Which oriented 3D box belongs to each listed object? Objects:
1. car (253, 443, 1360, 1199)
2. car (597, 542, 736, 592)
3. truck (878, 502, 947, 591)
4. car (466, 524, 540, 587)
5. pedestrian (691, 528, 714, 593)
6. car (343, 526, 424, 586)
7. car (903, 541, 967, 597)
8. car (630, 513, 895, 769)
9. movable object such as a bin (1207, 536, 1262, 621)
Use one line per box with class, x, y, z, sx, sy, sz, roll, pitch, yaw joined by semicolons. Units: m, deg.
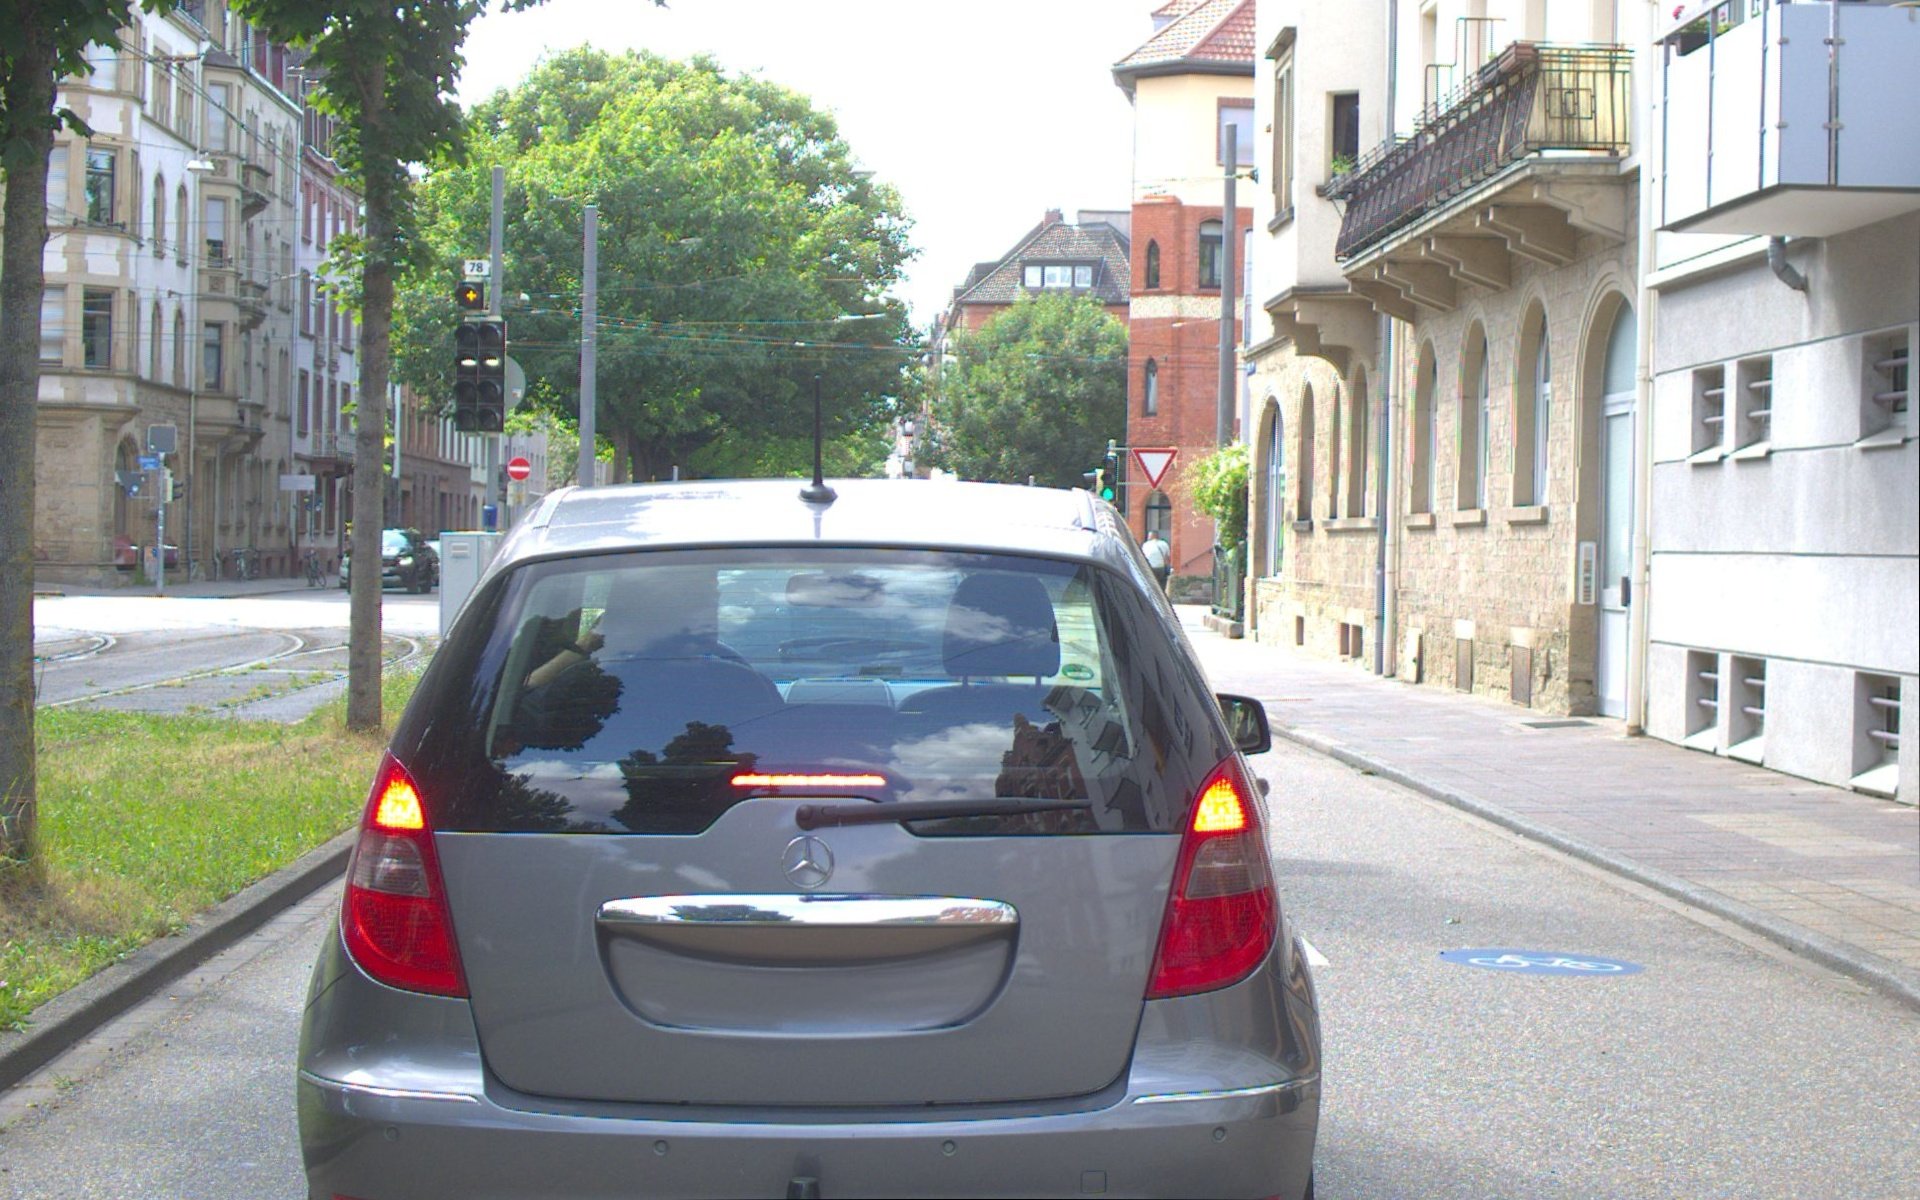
car;-0.261;0.537;7.218;1.722;1.600;3.677;0;1;-1
car;-8.441;-0.949;98.669;1.969;1.334;3.999;1;1;-40
truck;-1.602;-1.817;117.017;2.123;2.960;4.000;1;1;2
car;-12.916;-1.262;97.316;1.993;1.722;4.001;0;1;-7
pedestrian;-6.869;-1.061;91.688;0.493;1.719;0.654;1;1;-12
car;-16.039;-1.231;95.778;1.993;1.612;4.001;0;1;-7
car;-0.740;-0.951;104.062;1.752;1.627;3.499;1;1;2
car;-1.356;0.246;24.836;1.722;1.700;3.677;0;1;-1
movable object such as a bin;4.756;-0.380;59.635;0.714;1.467;0.983;0;1;-10
